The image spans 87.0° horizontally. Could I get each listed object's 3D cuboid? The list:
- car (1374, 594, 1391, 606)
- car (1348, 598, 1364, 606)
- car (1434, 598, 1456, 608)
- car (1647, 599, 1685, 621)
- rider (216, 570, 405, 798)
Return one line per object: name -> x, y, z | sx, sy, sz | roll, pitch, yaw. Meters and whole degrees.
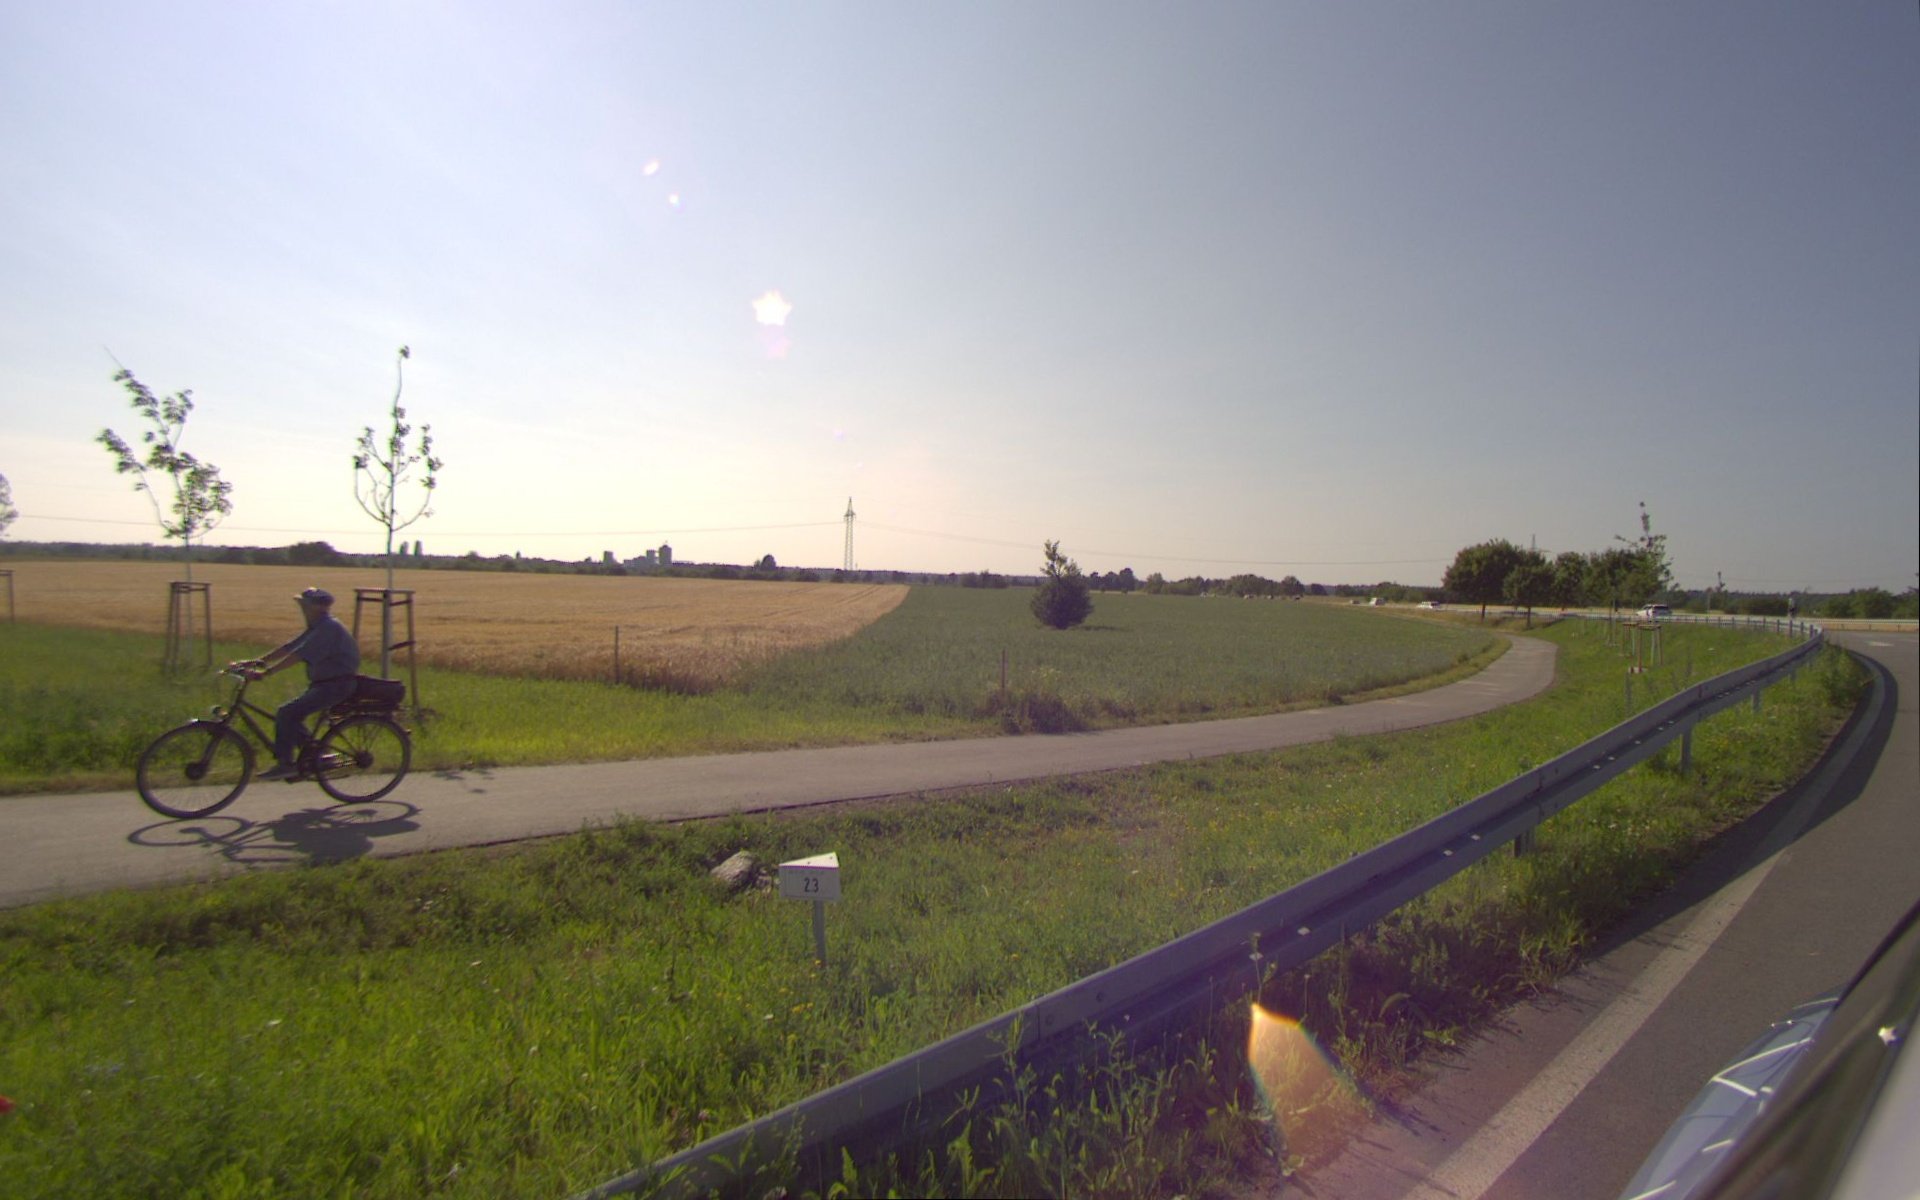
car -> 81.692, 0.072, 195.828 | 2.088, 2.040, 5.134 | 0, -2, 11
car -> 83.174, 0.458, 212.787 | 1.768, 1.467, 4.698 | 1, -2, 4
car -> 79.159, 0.538, 165.235 | 2.090, 1.512, 5.129 | 0, -2, 13
car -> 65.522, 0.935, 93.966 | 1.676, 1.693, 4.835 | 0, 3, 20
rider -> -5.103, 0.622, 8.025 | 0.806, 1.663, 0.991 | 2, 0, 1
